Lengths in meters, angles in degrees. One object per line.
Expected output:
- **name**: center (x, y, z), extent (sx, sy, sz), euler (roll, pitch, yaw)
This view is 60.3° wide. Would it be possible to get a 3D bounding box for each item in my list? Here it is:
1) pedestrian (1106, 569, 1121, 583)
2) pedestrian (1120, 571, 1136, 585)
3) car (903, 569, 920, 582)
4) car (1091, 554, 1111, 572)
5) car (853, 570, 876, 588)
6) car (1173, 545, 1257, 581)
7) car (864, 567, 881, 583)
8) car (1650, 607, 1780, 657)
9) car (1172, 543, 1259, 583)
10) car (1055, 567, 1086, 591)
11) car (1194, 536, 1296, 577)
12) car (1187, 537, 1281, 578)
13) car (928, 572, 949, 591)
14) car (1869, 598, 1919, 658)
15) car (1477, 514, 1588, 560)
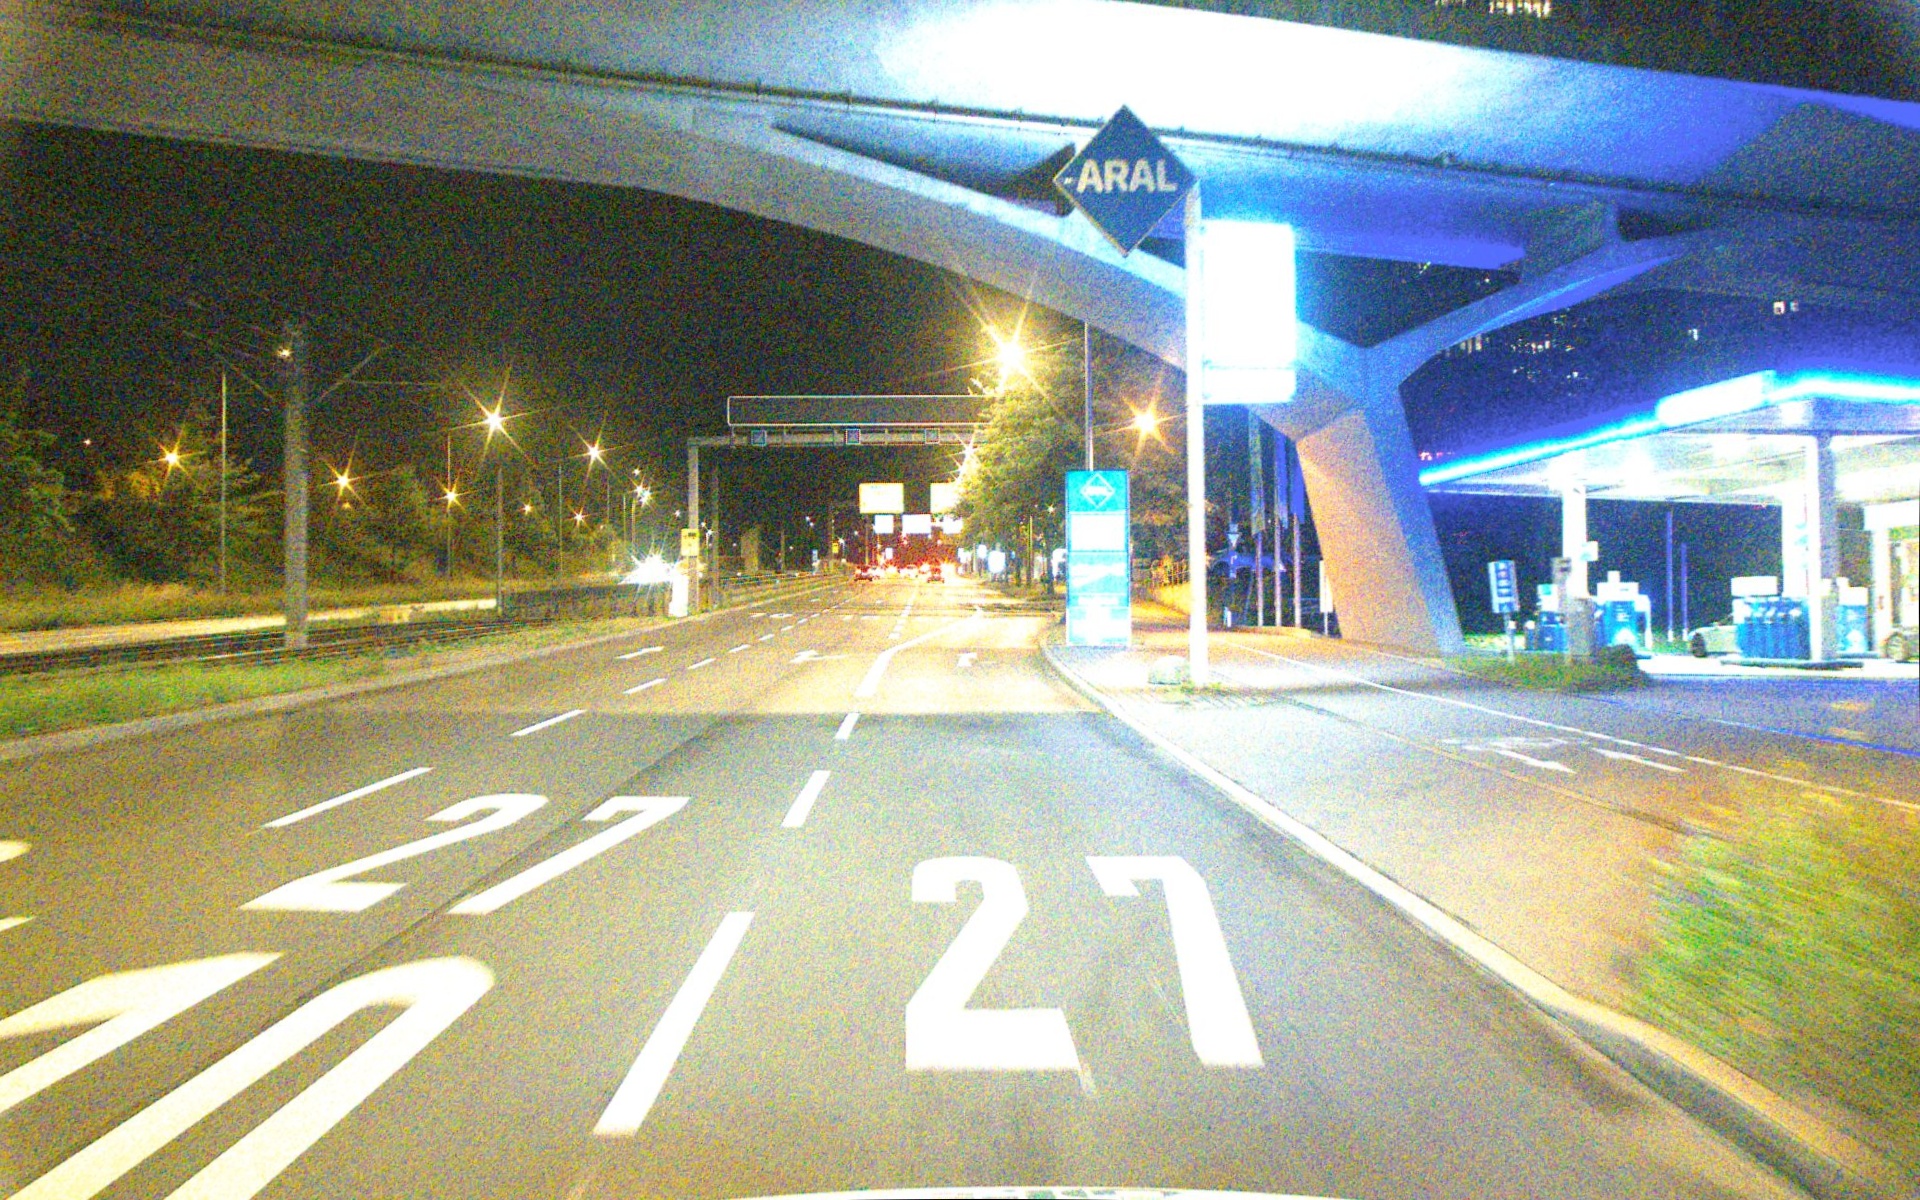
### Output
- **pedestrian**: center (11.775, -1.820, 127.012), extent (0.897, 1.056, 0.767), euler (-1, 0, 42)
- **pedestrian**: center (12.923, -1.696, 127.009), extent (0.982, 1.025, 0.768), euler (1, -1, -17)
- **car**: center (-6.315, -3.255, 216.483), extent (1.963, 1.579, 4.295), euler (1, 0, 1)
- **car**: center (13.321, -3.489, 156.315), extent (1.852, 1.538, 3.638), euler (1, 0, 6)
- **car**: center (-9.932, -2.197, 172.048), extent (1.932, 1.741, 3.989), euler (1, 0, -11)
- **car**: center (12.131, -1.740, 78.845), extent (3.650, 1.515, 1.741), euler (-2, -1, -3)
- **car**: center (-10.422, -2.928, 196.095), extent (1.748, 1.741, 3.995), euler (1, 0, -6)
- **car**: center (22.030, 0.898, 48.430), extent (1.621, 1.382, 4.063), euler (1, 0, -7)
- **car**: center (11.812, -1.700, 76.564), extent (3.672, 1.615, 1.779), euler (-3, -1, -3)
- **car**: center (9.987, -1.892, 149.083), extent (1.951, 1.979, 4.002), euler (1, 0, 16)
- **car**: center (12.284, -1.874, 71.479), extent (4.035, 1.549, 1.822), euler (-2, -1, 0)
- **car**: center (12.209, -1.884, 73.837), extent (3.905, 1.598, 1.738), euler (-2, -1, 0)
- **car**: center (-2.128, -1.839, 163.167), extent (1.927, 1.741, 4.000), euler (1, 0, 1)
- **car**: center (23.113, 0.638, 37.938), extent (1.889, 1.387, 4.330), euler (0, 0, -5)
- **car**: center (27.015, -2.967, 78.118), extent (4.486, 1.943, 1.998), euler (-2, 0, -4)
